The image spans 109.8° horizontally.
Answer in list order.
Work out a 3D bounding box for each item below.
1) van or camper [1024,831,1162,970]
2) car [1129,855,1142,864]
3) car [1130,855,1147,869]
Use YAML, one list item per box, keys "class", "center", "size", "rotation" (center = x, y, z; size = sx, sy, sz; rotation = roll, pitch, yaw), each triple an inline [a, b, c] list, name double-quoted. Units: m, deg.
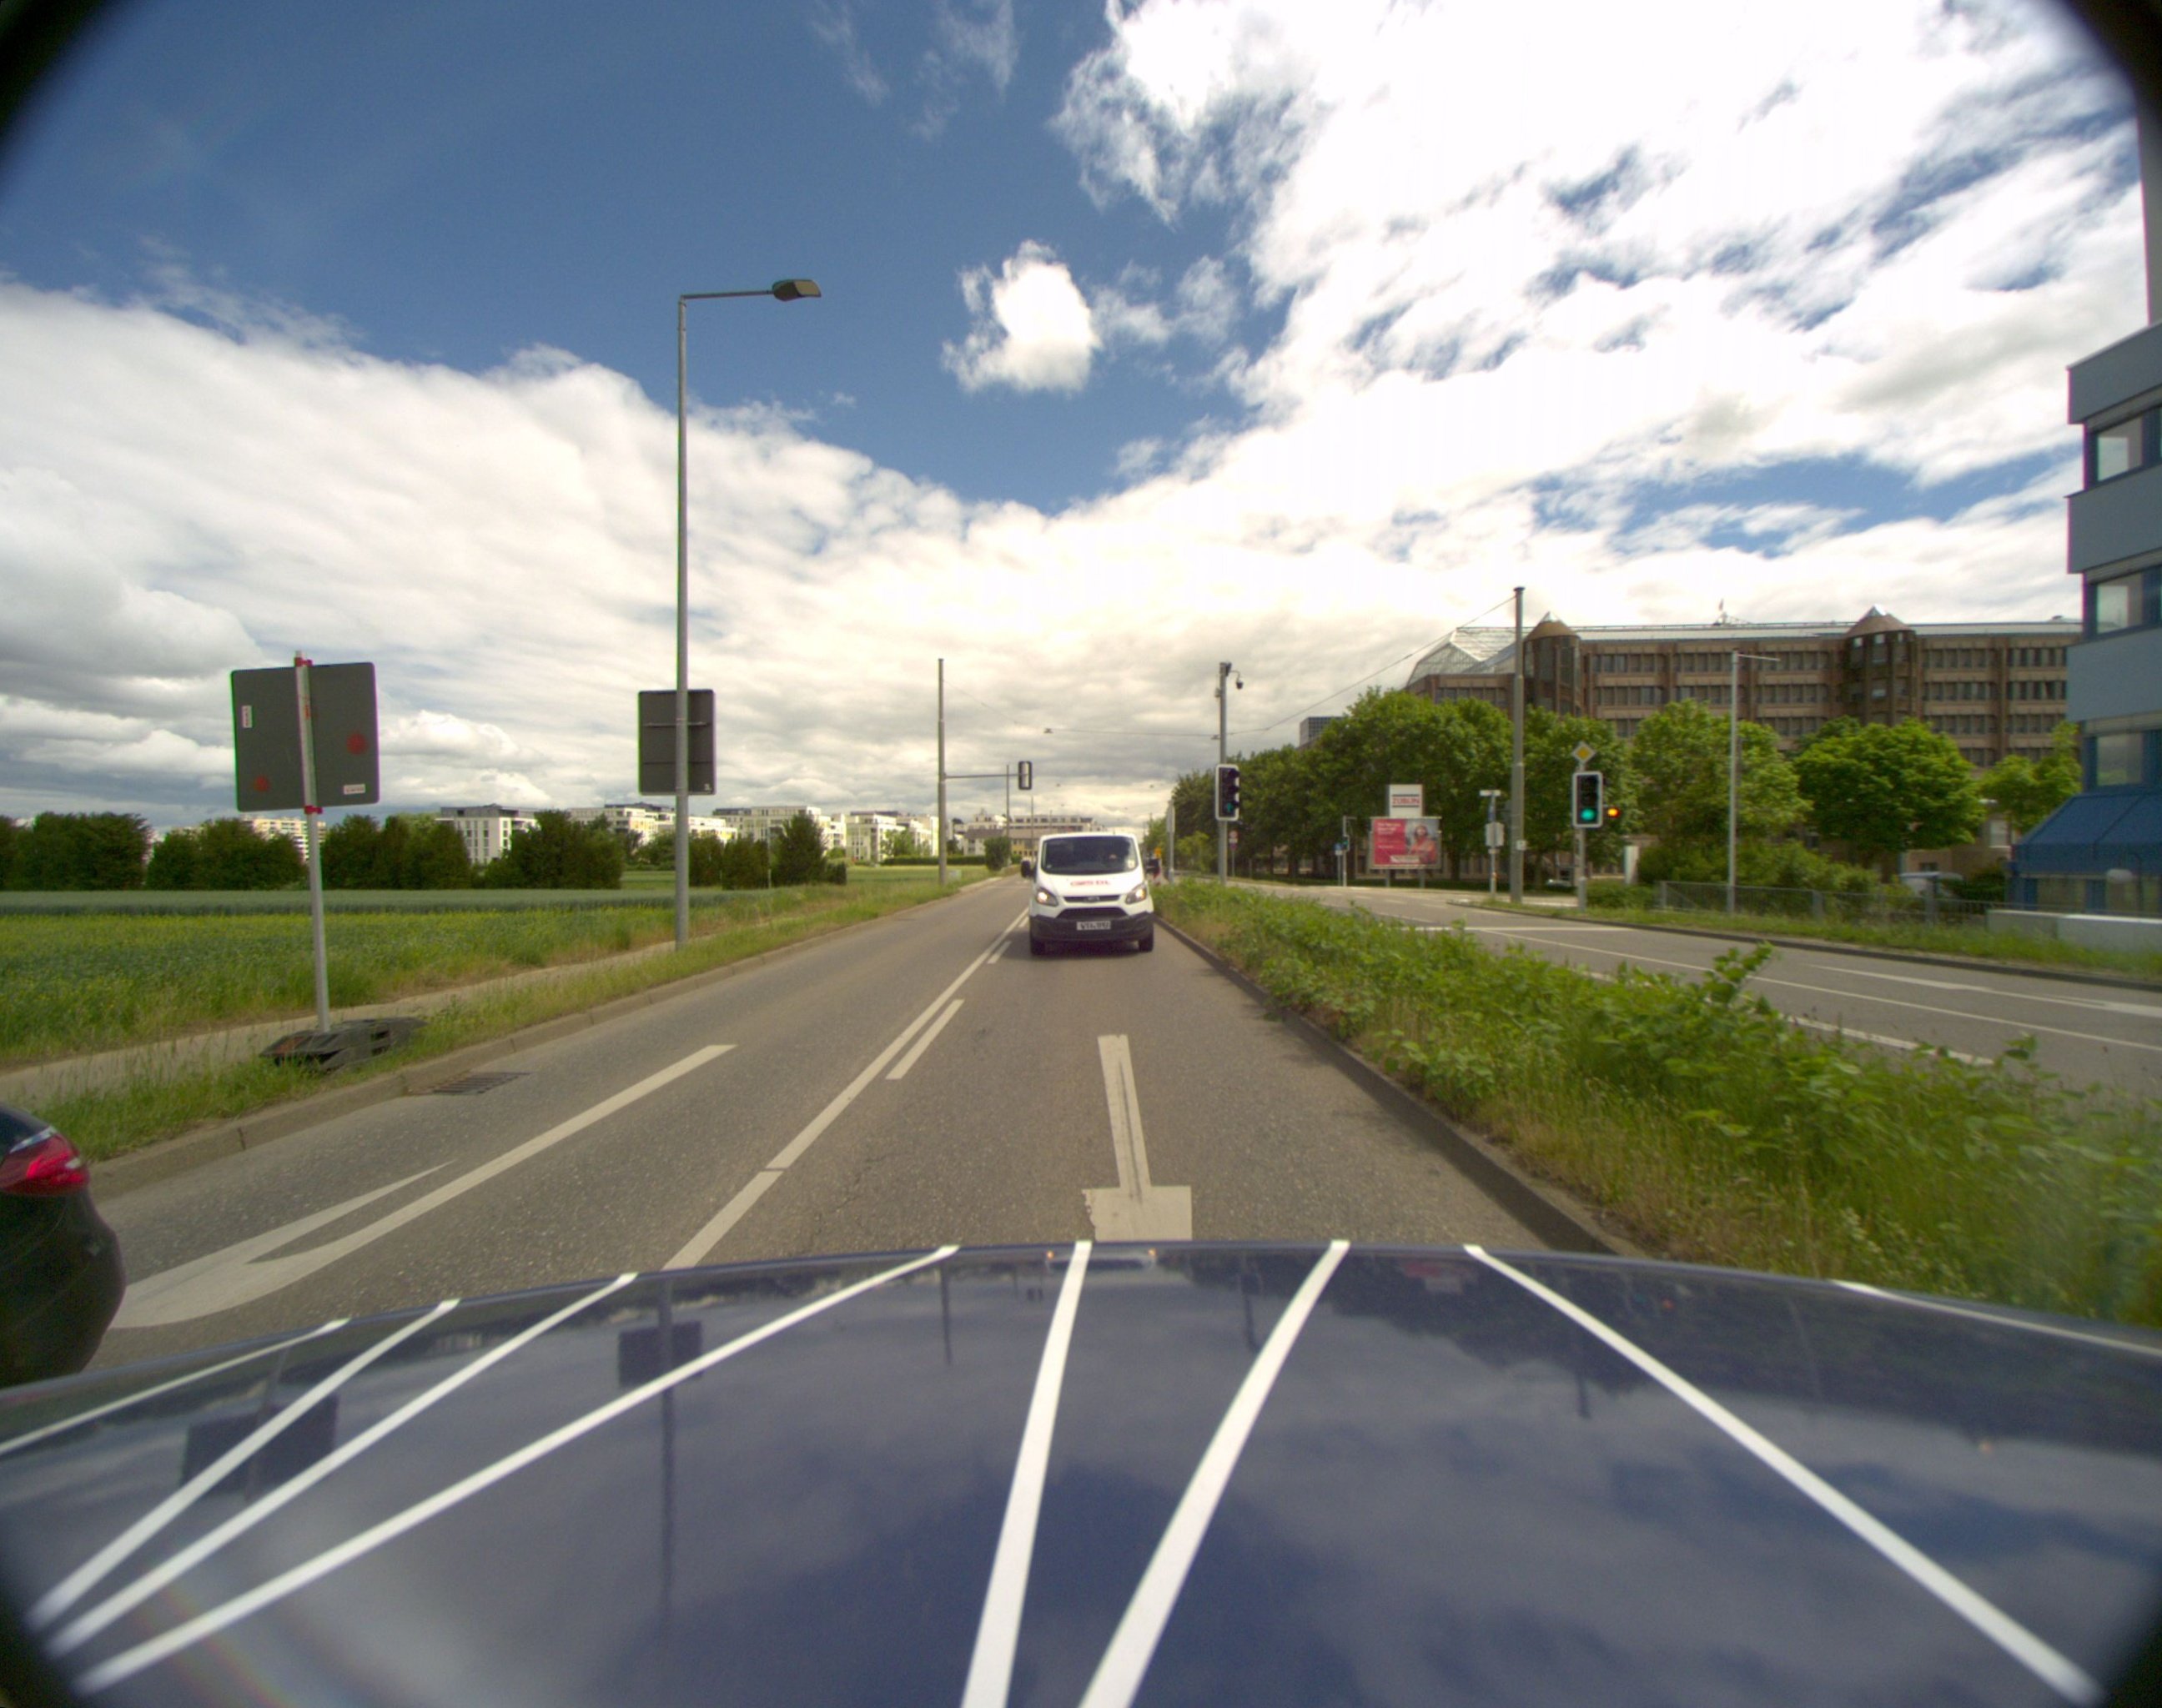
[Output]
- class: "van or camper"
  center: [0.125, 0.676, 13.938]
  size: [1.999, 2.002, 5.798]
  rotation: [0, 0, -1]
- class: "car"
  center: [9.236, 0.949, 127.982]
  size: [1.785, 1.407, 3.999]
  rotation: [1, 0, -1]
- class: "car"
  center: [7.660, 1.047, 101.211]
  size: [1.998, 1.692, 4.761]
  rotation: [0, 0, 1]
